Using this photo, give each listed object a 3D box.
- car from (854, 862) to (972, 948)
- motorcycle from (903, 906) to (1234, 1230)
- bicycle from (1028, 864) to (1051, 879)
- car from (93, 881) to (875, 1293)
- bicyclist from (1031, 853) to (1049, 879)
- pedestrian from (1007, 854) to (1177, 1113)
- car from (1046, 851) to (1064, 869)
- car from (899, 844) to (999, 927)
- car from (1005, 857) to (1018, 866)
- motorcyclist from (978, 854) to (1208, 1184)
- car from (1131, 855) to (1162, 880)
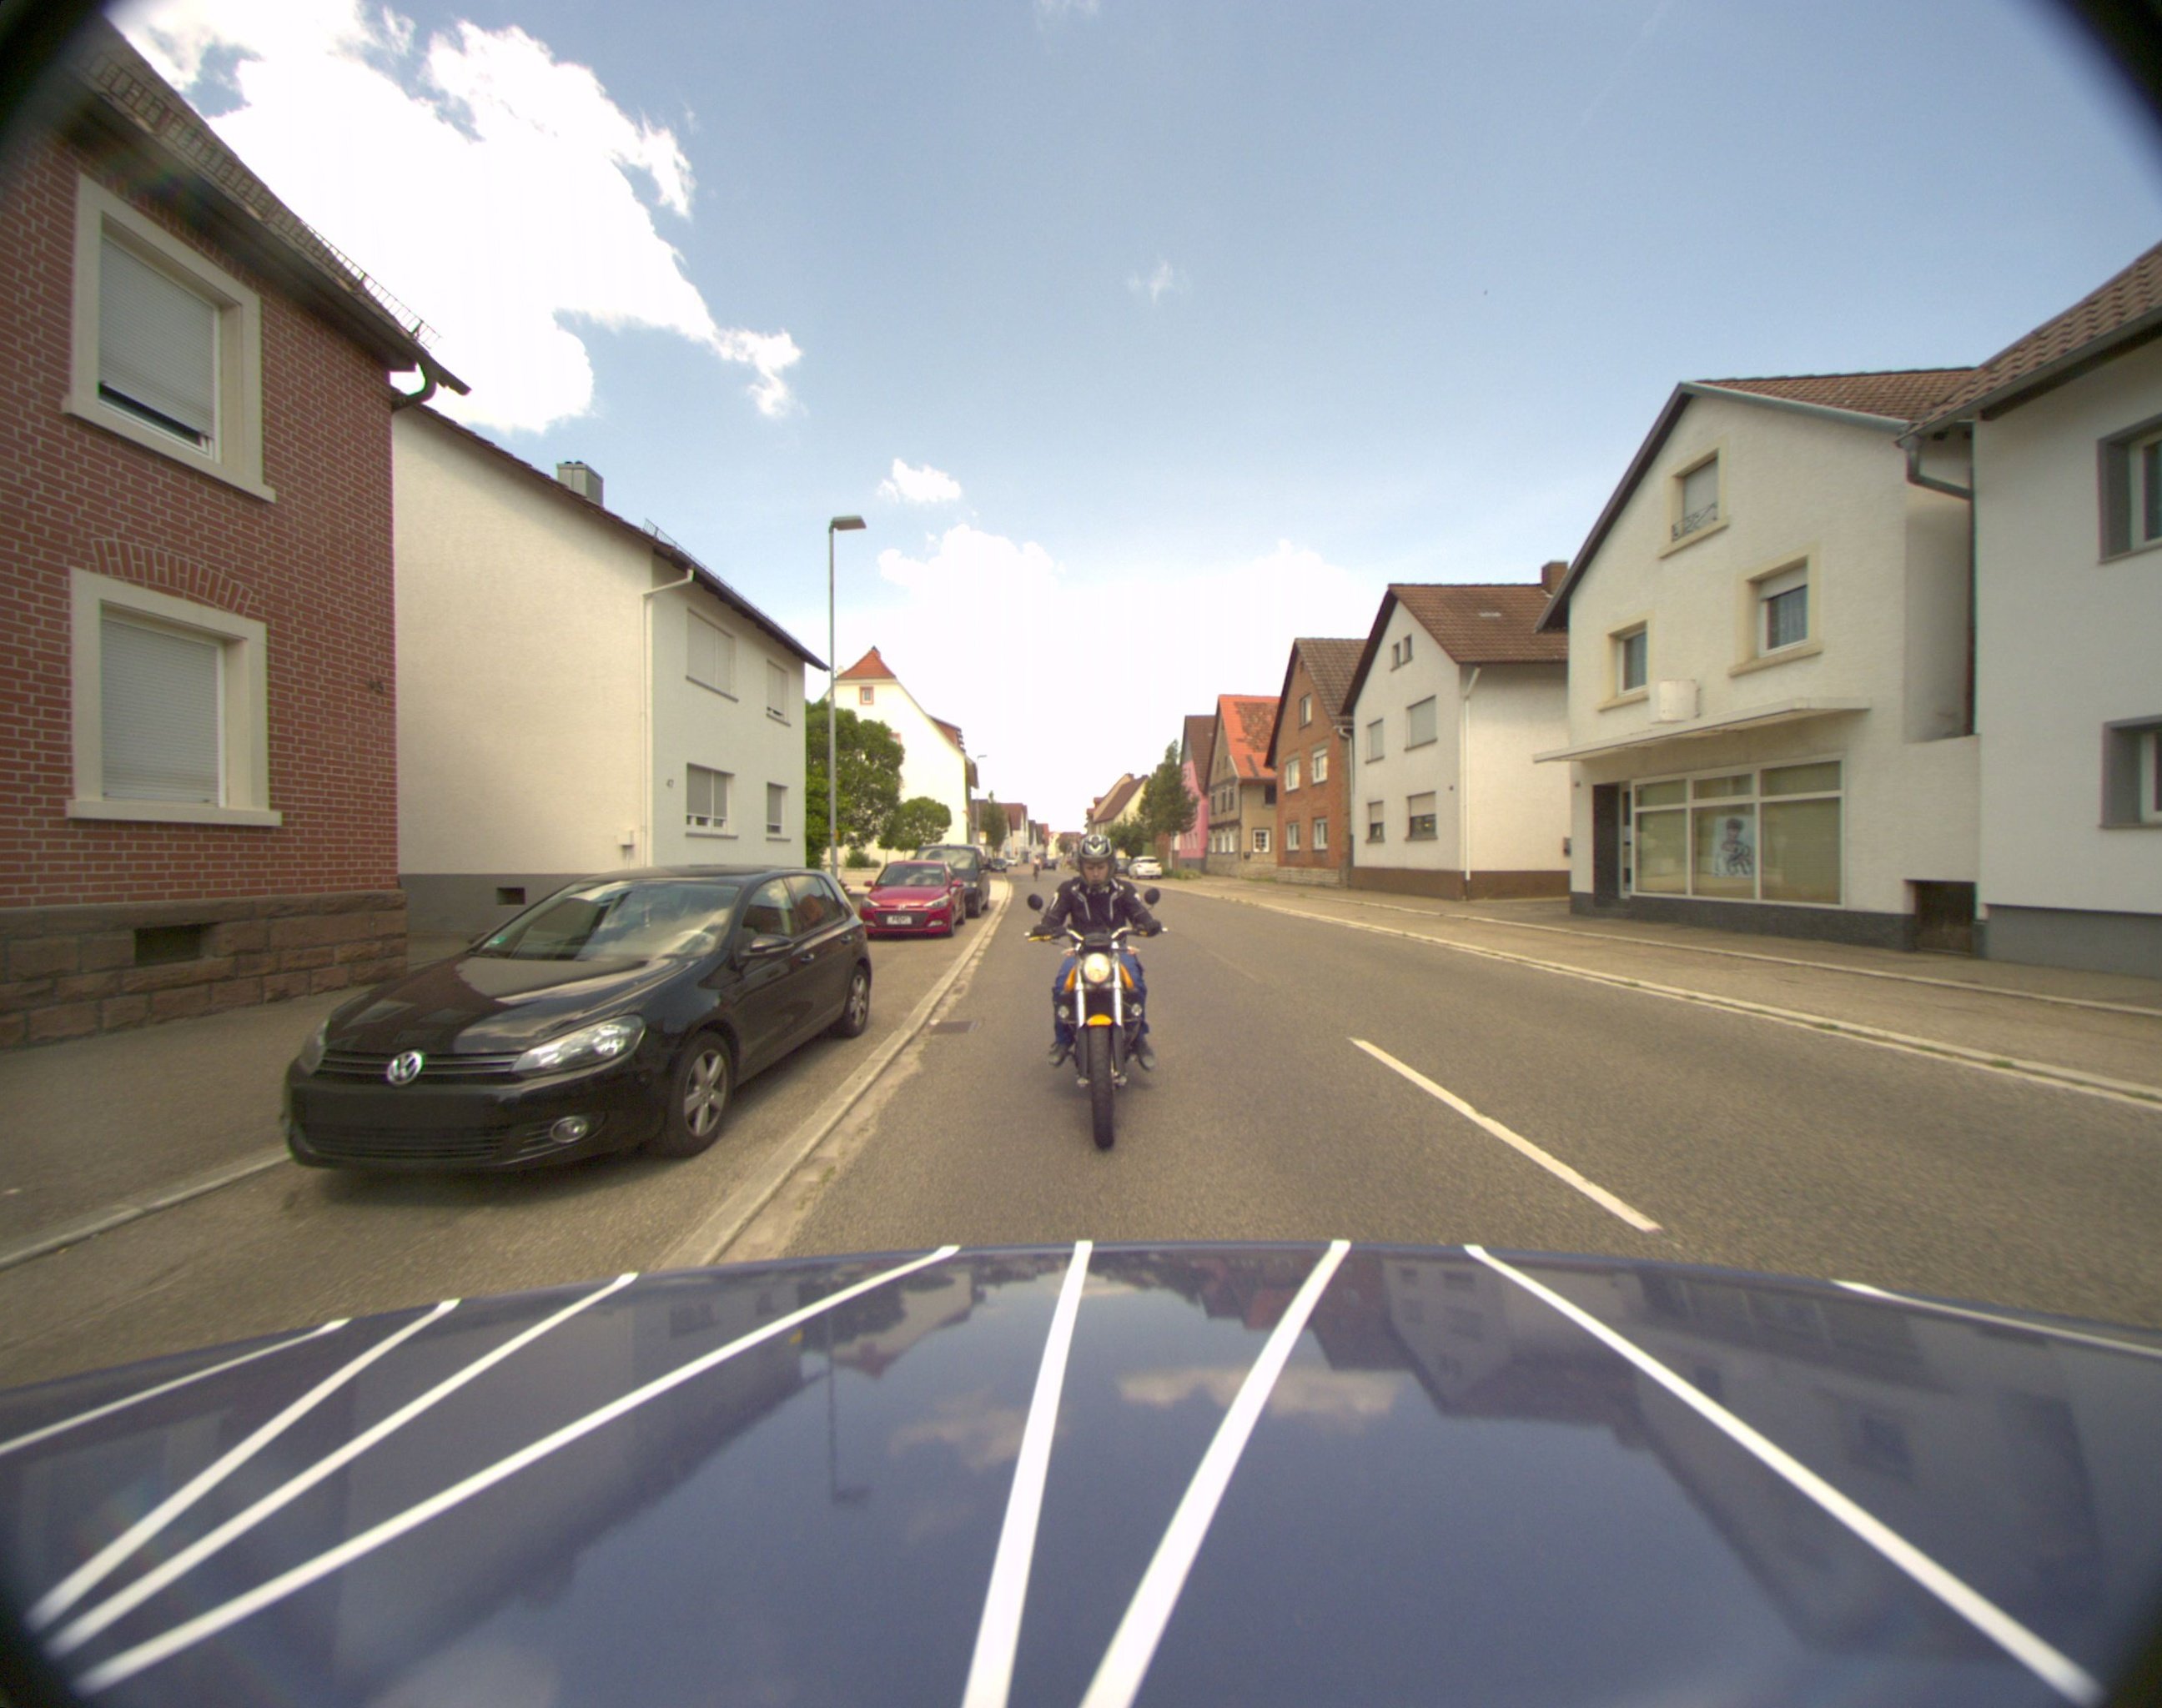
[{"bbox_3d":[-3.345,0.938,15.951,1.744,1.495,4.556,-1,0,-4],"label":"car"},{"bbox_3d":[0.083,0.991,4.382,0.983,1.233,2.107,-3,-1,27],"label":"motorcycle"},{"bbox_3d":[-2.731,1.148,50.088,0.933,1.005,1.927,-1,-1,15],"label":"bicycle"},{"bbox_3d":[-2.785,0.944,4.852,1.772,1.520,4.002,-1,-2,1],"label":"car"},{"bbox_3d":[-2.710,0.806,50.022,0.908,1.679,0.762,-1,2,16],"label":"bicyclist"},{"bbox_3d":[0.079,0.806,5.083,1.000,1.565,0.800,-2,2,2],"label":"pedestrian"},{"bbox_3d":[-3.180,0.675,92.628,1.999,2.002,3.999,-2,1,0],"label":"car"},{"bbox_3d":[-3.457,0.725,20.961,1.931,1.904,5.244,-2,1,-2],"label":"car"},{"bbox_3d":[-12.128,1.325,132.974,1.999,1.345,3.998,-2,1,-2],"label":"car"},{"bbox_3d":[0.093,0.818,4.284,0.998,1.591,0.801,-1,2,27],"label":"motorcyclist"},{"bbox_3d":[4.325,0.868,50.571,1.683,1.521,3.498,-2,1,0],"label":"car"}]
